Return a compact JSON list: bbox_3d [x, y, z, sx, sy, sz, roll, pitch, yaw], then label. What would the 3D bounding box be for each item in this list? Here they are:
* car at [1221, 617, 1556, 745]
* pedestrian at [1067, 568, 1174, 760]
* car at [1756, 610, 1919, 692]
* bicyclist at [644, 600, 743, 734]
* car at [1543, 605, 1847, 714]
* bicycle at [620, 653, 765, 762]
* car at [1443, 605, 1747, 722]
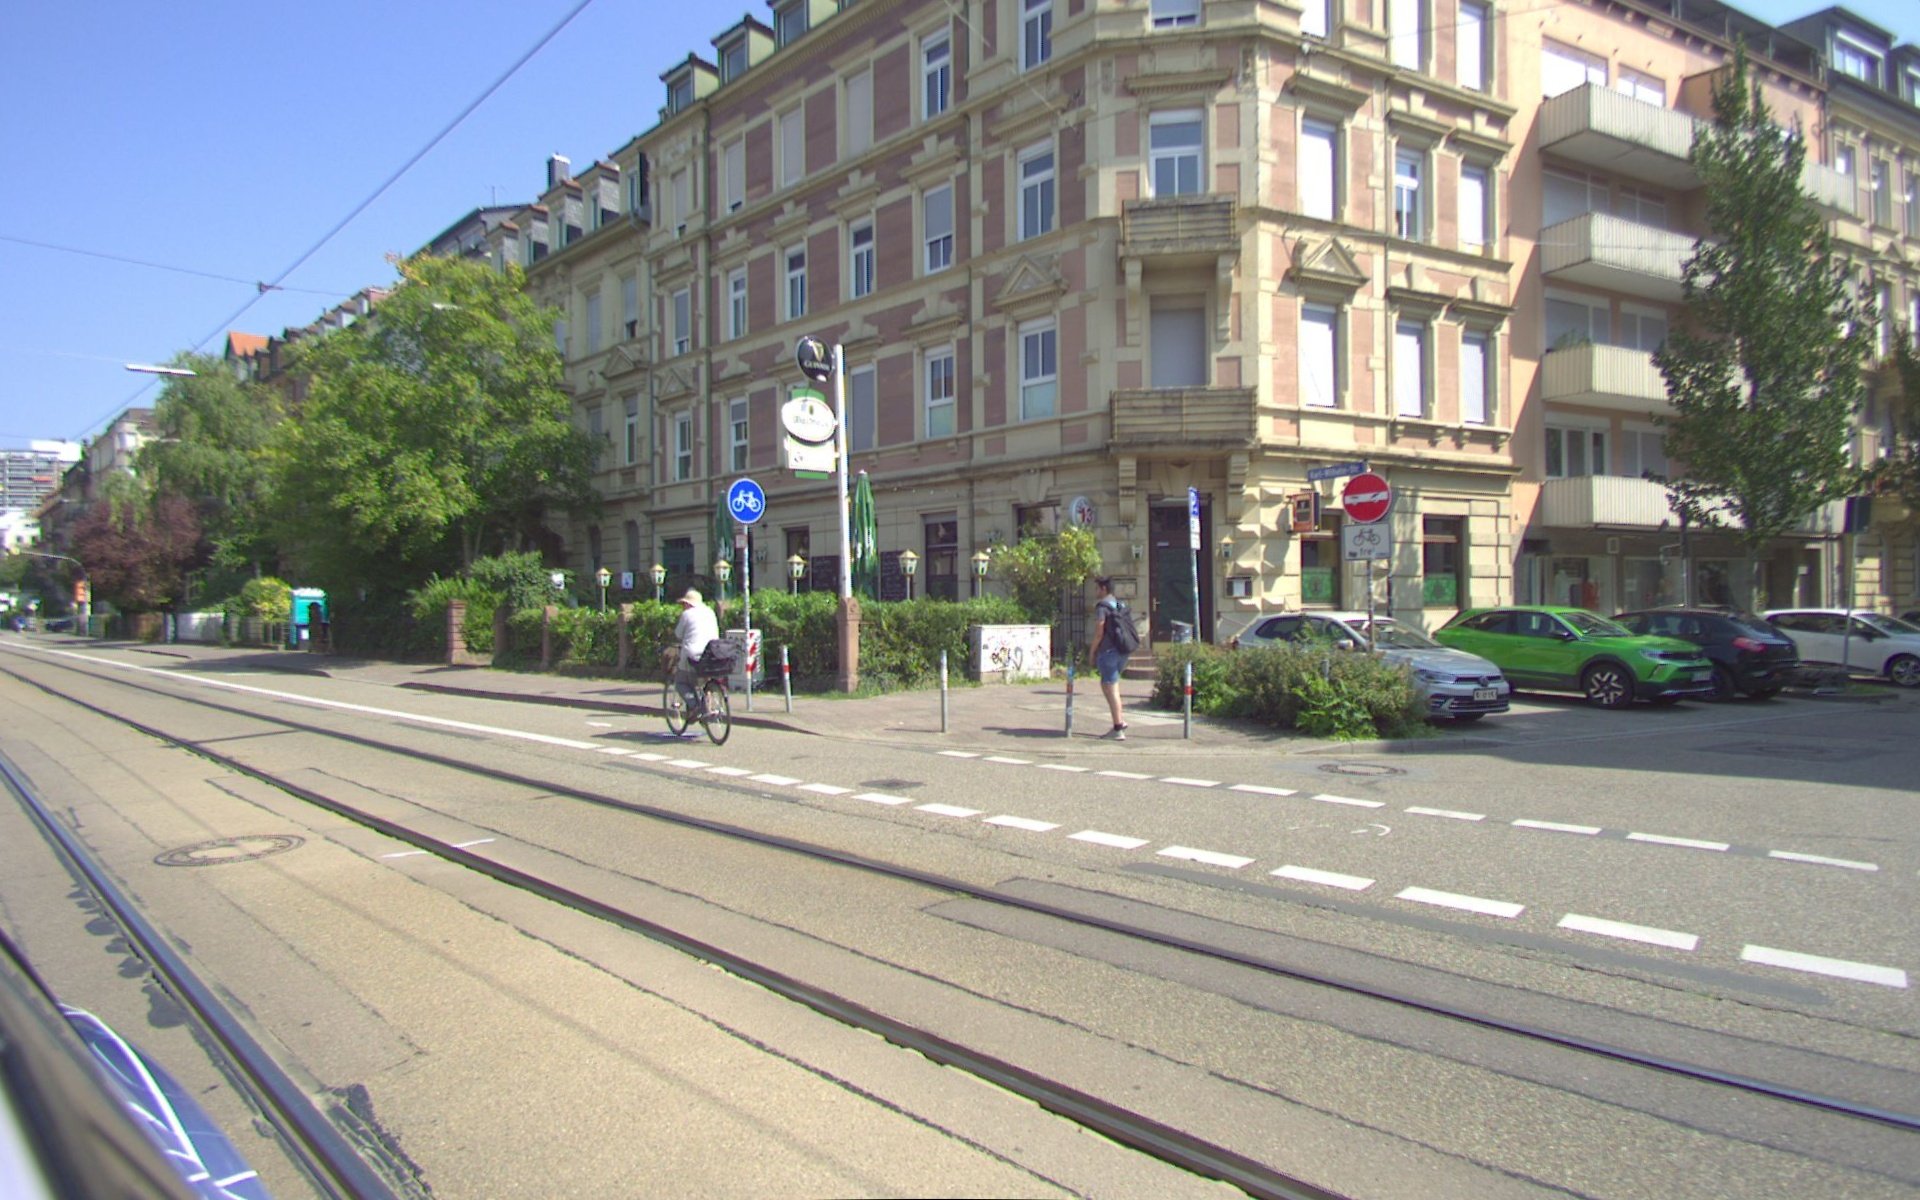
[{"bbox_3d":[5.830,1.012,14.365,1.965,1.500,4.158,0,-1,-23],"label":"car"},{"bbox_3d":[1.771,0.686,11.261,0.647,2.029,0.976,0,-1,-38],"label":"pedestrian"},{"bbox_3d":[18.039,0.948,19.694,1.709,1.467,3.620,-1,0,-26],"label":"car"},{"bbox_3d":[-3.021,0.727,11.436,0.974,1.439,0.648,-2,-2,41],"label":"bicyclist"},{"bbox_3d":[12.179,0.895,17.039,1.709,1.586,3.752,-1,0,-26],"label":"car"},{"bbox_3d":[-3.055,1.169,11.452,1.914,1.085,0.634,-1,-1,41],"label":"bicycle"},{"bbox_3d":[9.920,0.895,16.124,1.709,1.586,3.752,-1,0,-26],"label":"car"}]
